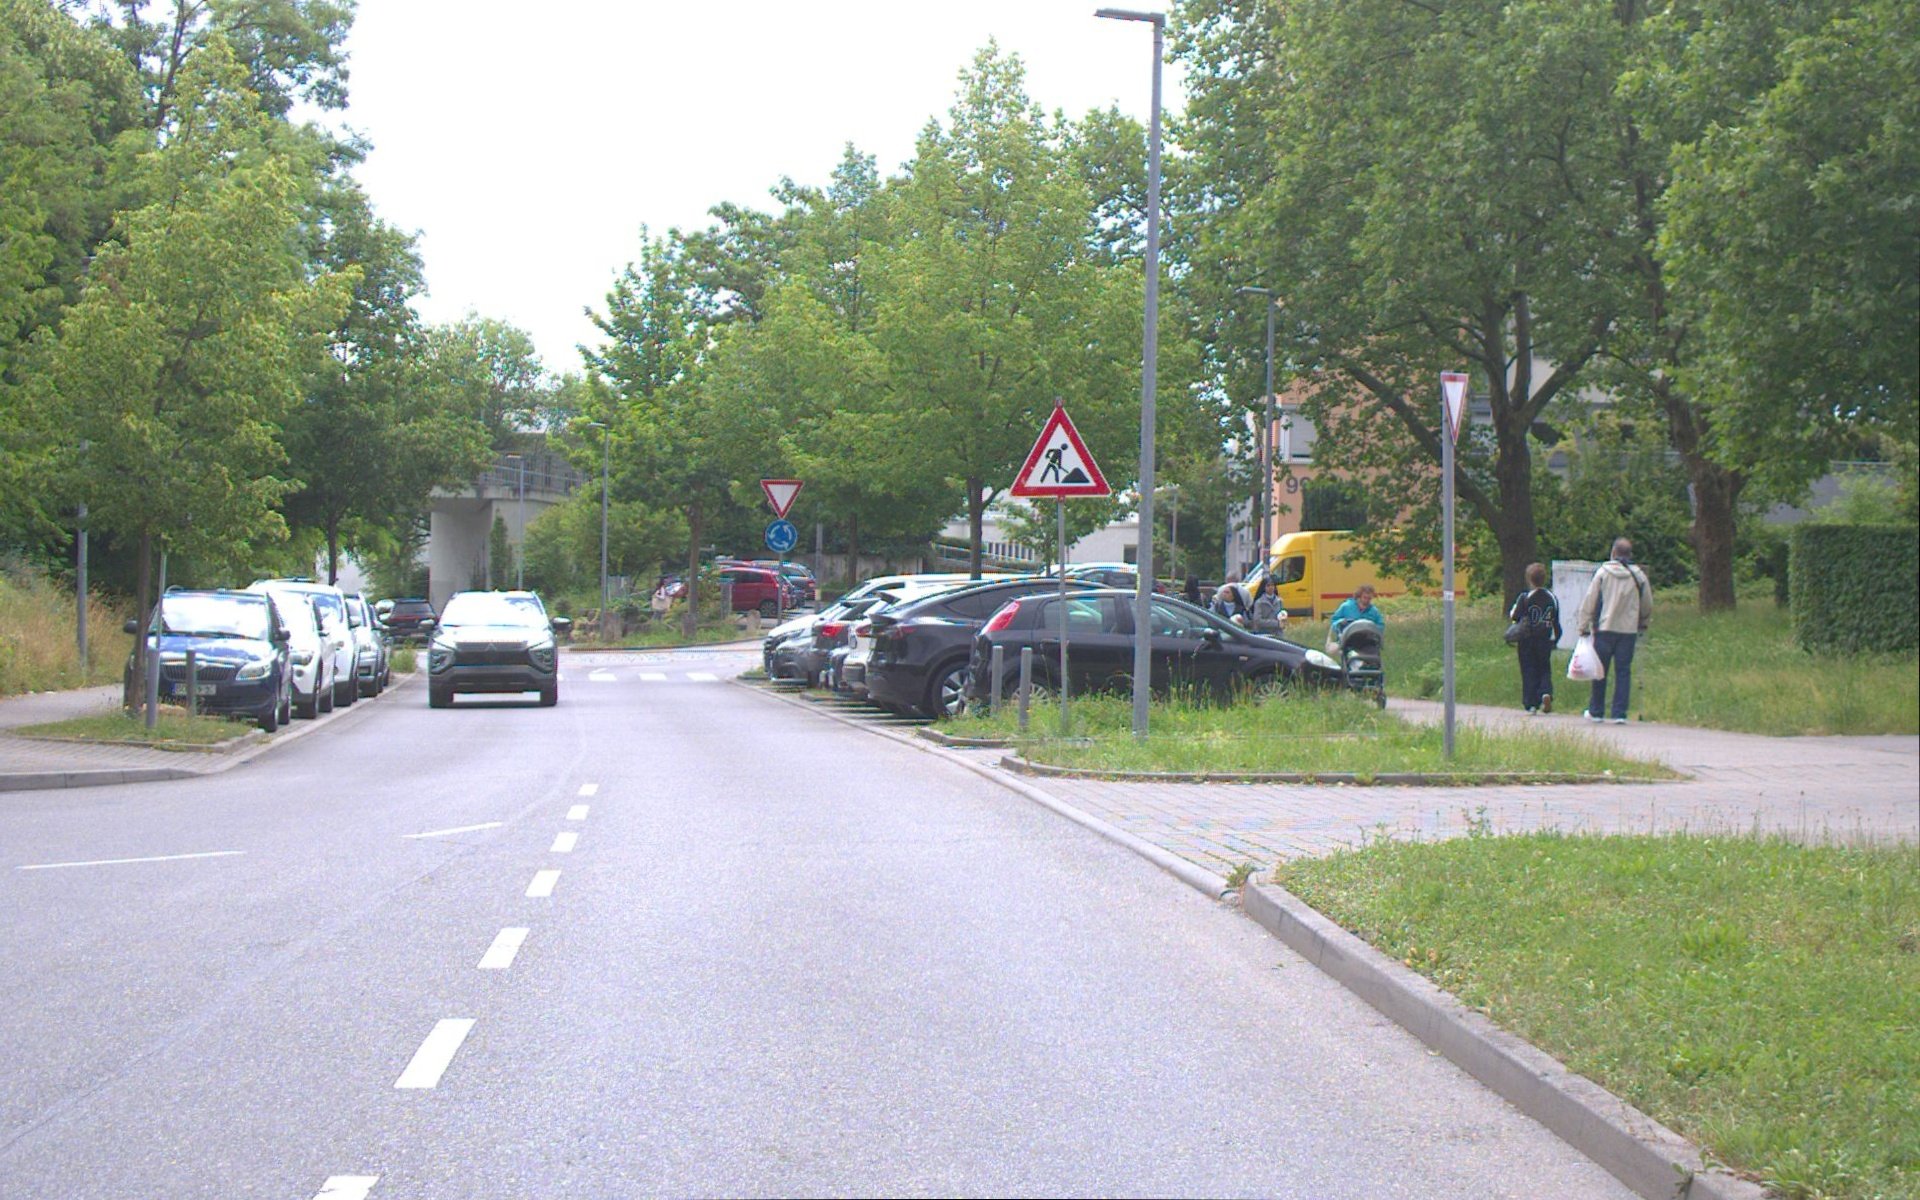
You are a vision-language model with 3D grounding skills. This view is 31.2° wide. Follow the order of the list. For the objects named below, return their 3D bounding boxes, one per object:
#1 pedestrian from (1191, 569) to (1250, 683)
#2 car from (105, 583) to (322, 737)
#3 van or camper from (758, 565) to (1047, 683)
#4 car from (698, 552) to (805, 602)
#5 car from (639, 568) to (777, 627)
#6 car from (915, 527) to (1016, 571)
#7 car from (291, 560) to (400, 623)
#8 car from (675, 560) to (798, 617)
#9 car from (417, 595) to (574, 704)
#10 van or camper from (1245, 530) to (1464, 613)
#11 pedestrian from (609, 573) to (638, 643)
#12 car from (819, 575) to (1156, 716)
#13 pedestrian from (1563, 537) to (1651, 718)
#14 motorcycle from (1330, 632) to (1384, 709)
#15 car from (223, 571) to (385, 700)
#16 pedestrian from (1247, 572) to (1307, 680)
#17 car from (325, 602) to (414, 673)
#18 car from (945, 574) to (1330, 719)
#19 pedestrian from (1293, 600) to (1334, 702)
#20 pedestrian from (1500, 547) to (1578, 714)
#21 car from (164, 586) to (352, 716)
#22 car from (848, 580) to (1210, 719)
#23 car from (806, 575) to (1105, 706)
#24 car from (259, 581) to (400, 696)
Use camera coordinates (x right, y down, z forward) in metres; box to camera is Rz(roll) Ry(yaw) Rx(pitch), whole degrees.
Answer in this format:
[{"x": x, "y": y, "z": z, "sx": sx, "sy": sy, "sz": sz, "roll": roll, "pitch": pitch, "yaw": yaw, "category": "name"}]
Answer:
[{"x": 3.494, "y": 0.339, "z": 46.164, "sx": 0.690, "sy": 1.499, "sz": 0.753, "roll": 1, "pitch": 1, "yaw": -1, "category": "pedestrian"}, {"x": -8.127, "y": 0.617, "z": 37.731, "sx": 1.765, "sy": 1.495, "sz": 3.936, "roll": 0, "pitch": 2, "yaw": -4, "category": "car"}, {"x": -0.990, "y": 0.388, "z": 57.504, "sx": 4.671, "sy": 1.863, "sz": 1.772, "roll": 0, "pitch": 3, "yaw": -7, "category": "van or camper"}, {"x": -7.213, "y": -0.807, "z": 119.054, "sx": 3.540, "sy": 1.648, "sz": 1.621, "roll": 1, "pitch": 1, "yaw": 2, "category": "car"}, {"x": -7.107, "y": -0.060, "z": 96.835, "sx": 3.539, "sy": 1.558, "sz": 1.622, "roll": 1, "pitch": 1, "yaw": -20, "category": "car"}, {"x": 0.200, "y": -1.979, "z": 133.723, "sx": 3.539, "sy": 1.648, "sz": 1.622, "roll": 1, "pitch": 1, "yaw": -20, "category": "car"}, {"x": -13.686, "y": -0.191, "z": 76.483, "sx": 1.200, "sy": 1.332, "sz": 2.605, "roll": 0, "pitch": 1, "yaw": -41, "category": "car"}, {"x": -6.774, "y": -0.352, "z": 104.024, "sx": 3.539, "sy": 1.648, "sz": 1.622, "roll": 1, "pitch": 1, "yaw": -8, "category": "car"}, {"x": -6.638, "y": 0.678, "z": 49.515, "sx": 1.974, "sy": 1.458, "sz": 3.935, "roll": 0, "pitch": 1, "yaw": -4, "category": "car"}, {"x": 10.144, "y": -0.738, "z": 88.596, "sx": 5.292, "sy": 2.034, "sz": 2.061, "roll": 0, "pitch": 3, "yaw": -5, "category": "van or camper"}, {"x": -9.154, "y": 0.209, "z": 93.599, "sx": 0.721, "sy": 1.858, "sz": 0.651, "roll": 0, "pitch": 3, "yaw": -11, "category": "pedestrian"}, {"x": 0.313, "y": 0.552, "z": 40.963, "sx": 3.922, "sy": 1.625, "sz": 1.771, "roll": 0, "pitch": -1, "yaw": 0, "category": "car"}, {"x": 6.363, "y": 0.260, "z": 33.827, "sx": 0.801, "sy": 1.716, "sz": 0.823, "roll": 1, "pitch": 3, "yaw": 11, "category": "pedestrian"}, {"x": 4.539, "y": 0.803, "z": 39.349, "sx": 0.452, "sy": 0.791, "sz": 1.264, "roll": 0, "pitch": 3, "yaw": 0, "category": "motorcycle"}, {"x": -9.221, "y": 0.500, "z": 48.570, "sx": 1.765, "sy": 1.747, "sz": 3.935, "roll": 0, "pitch": 0, "yaw": -4, "category": "car"}, {"x": 4.254, "y": 0.339, "z": 46.195, "sx": 0.690, "sy": 1.419, "sz": 0.753, "roll": 1, "pitch": 1, "yaw": -1, "category": "pedestrian"}, {"x": -11.936, "y": 0.739, "z": 69.628, "sx": 1.737, "sy": 1.321, "sz": 3.816, "roll": 0, "pitch": 1, "yaw": -9, "category": "car"}, {"x": 1.814, "y": 0.499, "z": 36.006, "sx": 3.922, "sy": 1.463, "sz": 1.771, "roll": 0, "pitch": -1, "yaw": 0, "category": "car"}, {"x": 4.092, "y": 0.590, "z": 39.766, "sx": 0.395, "sy": 1.148, "sz": 0.485, "roll": 1, "pitch": 3, "yaw": -1, "category": "pedestrian"}, {"x": 6.169, "y": 0.314, "z": 36.676, "sx": 0.775, "sy": 1.716, "sz": 0.823, "roll": 1, "pitch": 3, "yaw": 9, "category": "pedestrian"}, {"x": -8.670, "y": 0.600, "z": 42.726, "sx": 1.765, "sy": 1.495, "sz": 3.935, "roll": 0, "pitch": 1, "yaw": -4, "category": "car"}, {"x": 0.745, "y": 0.562, "z": 38.237, "sx": 3.922, "sy": 1.495, "sz": 1.771, "roll": 0, "pitch": -1, "yaw": 0, "category": "car"}, {"x": -0.067, "y": 0.528, "z": 46.051, "sx": 3.922, "sy": 1.624, "sz": 1.772, "roll": 0, "pitch": 3, "yaw": 0, "category": "car"}, {"x": -9.909, "y": 0.568, "z": 54.238, "sx": 1.737, "sy": 1.705, "sz": 4.083, "roll": 0, "pitch": 1, "yaw": -4, "category": "car"}]
